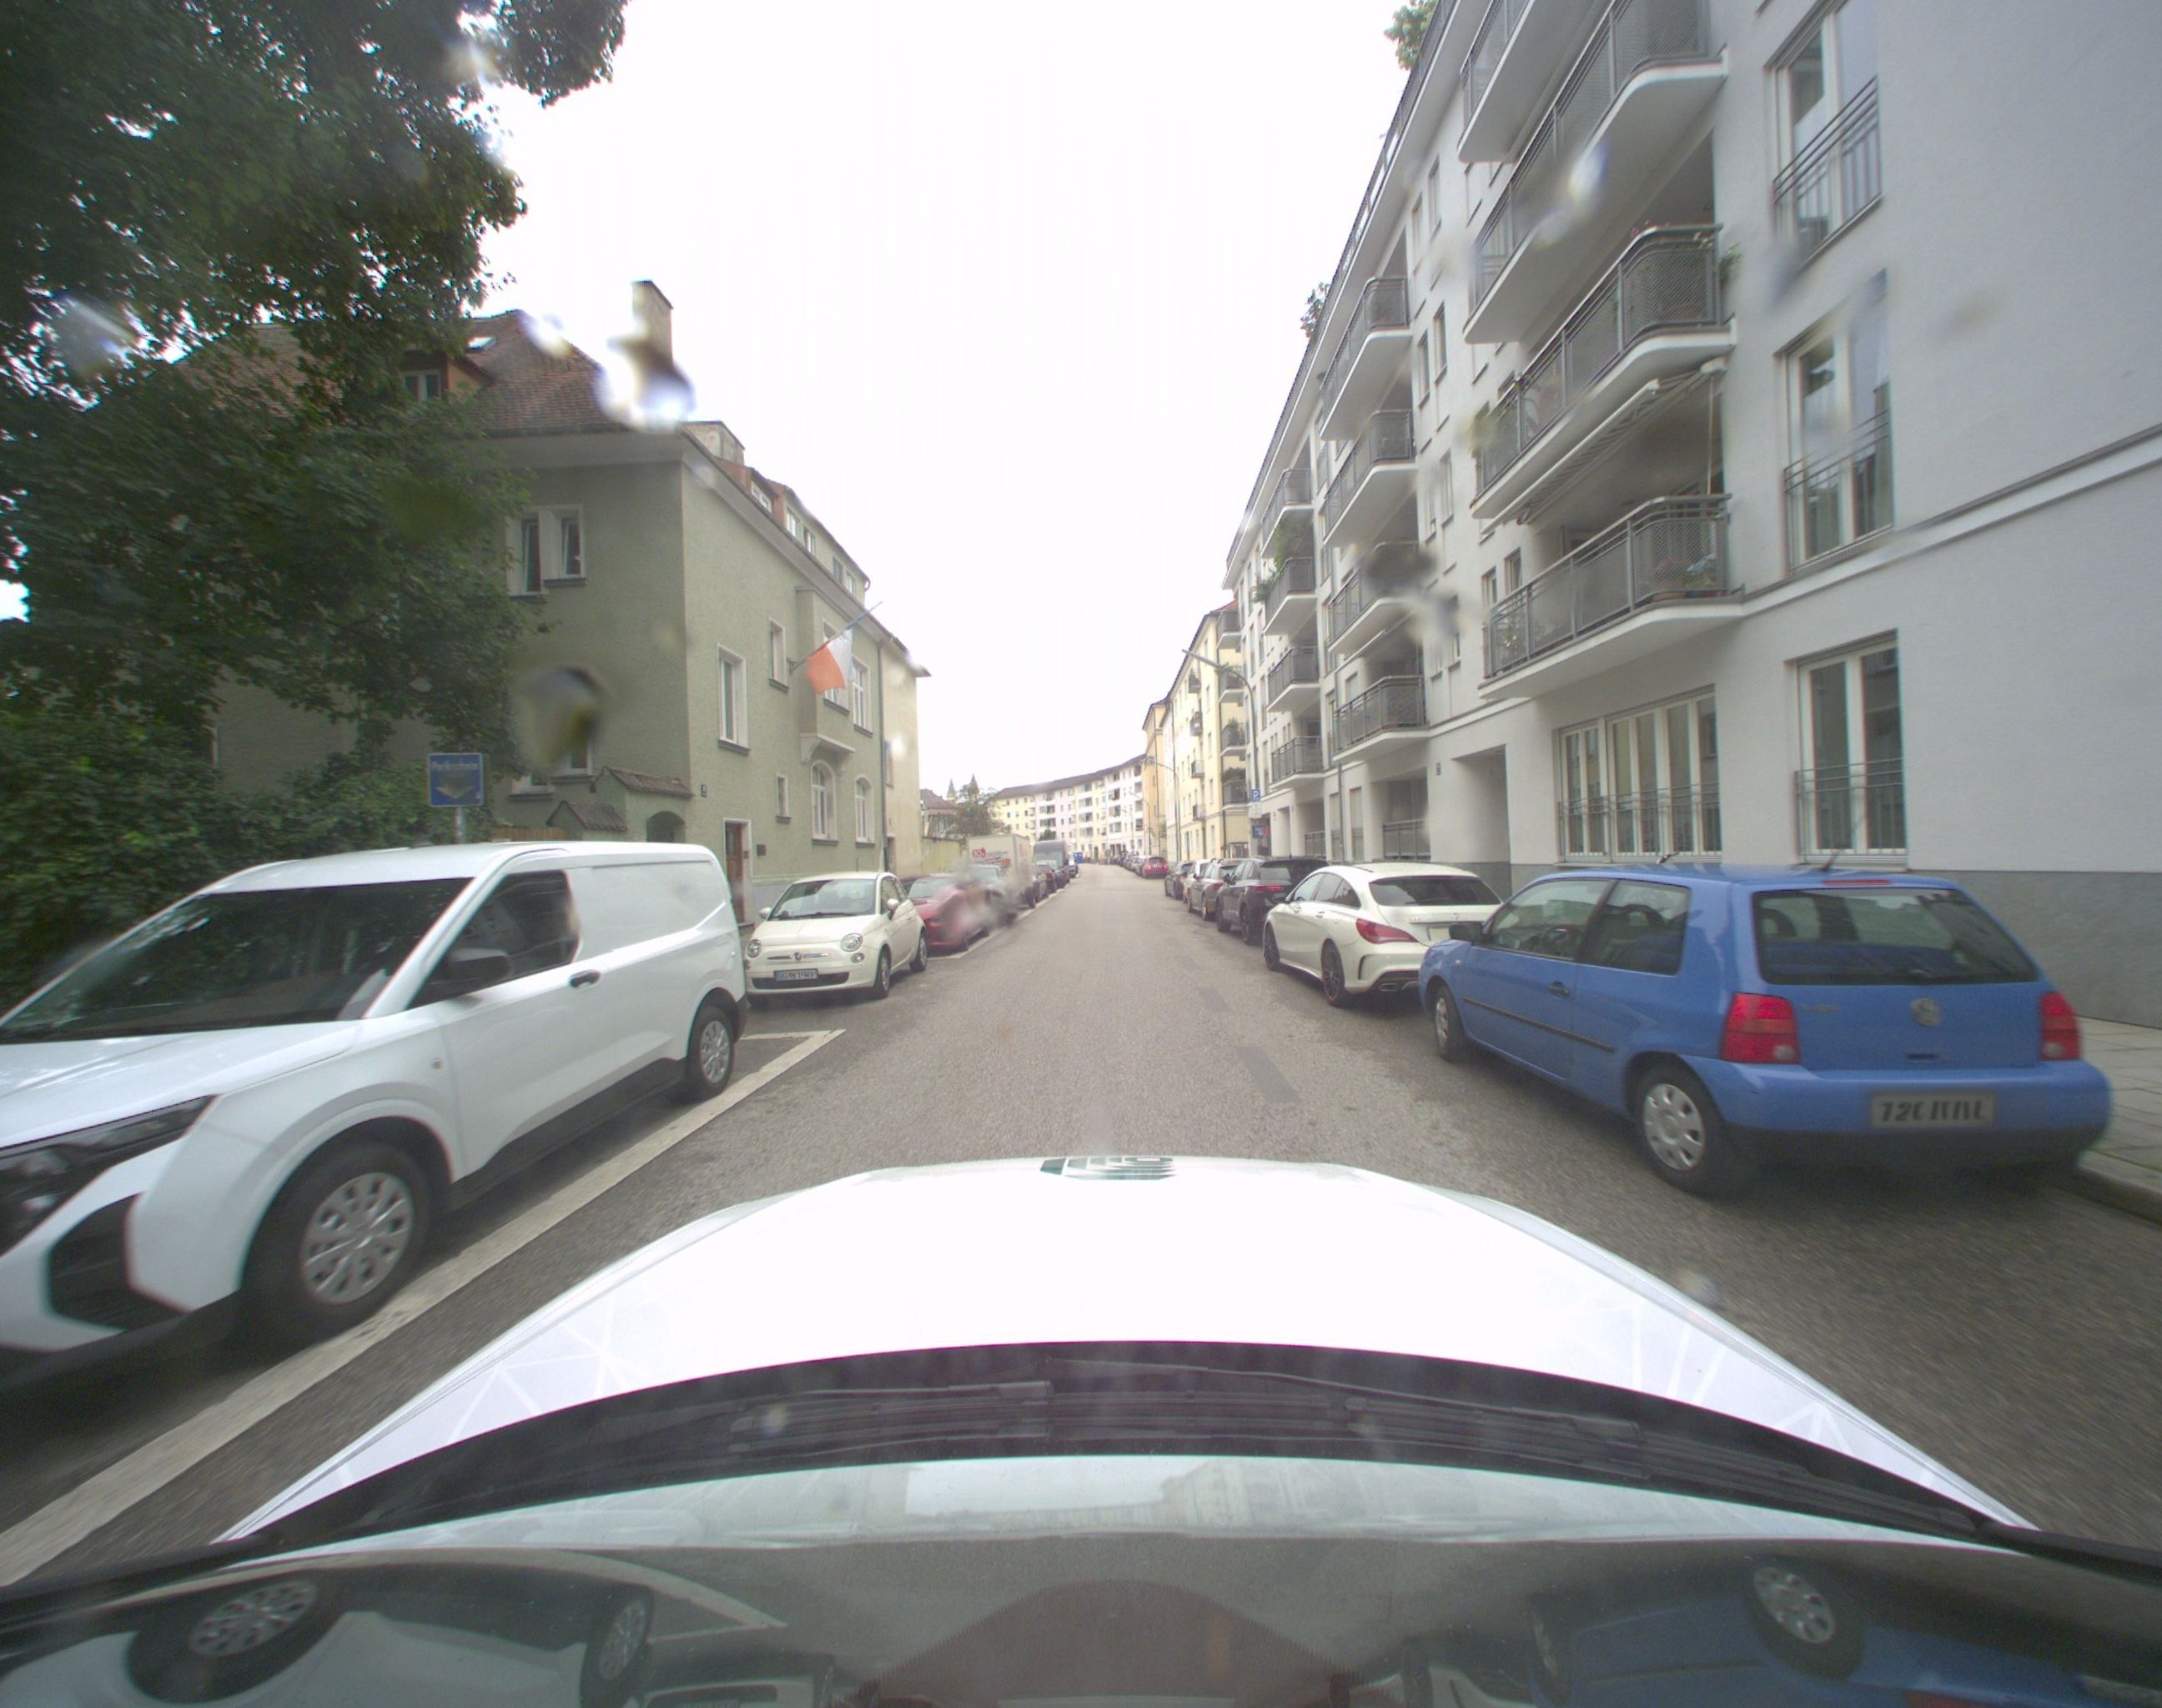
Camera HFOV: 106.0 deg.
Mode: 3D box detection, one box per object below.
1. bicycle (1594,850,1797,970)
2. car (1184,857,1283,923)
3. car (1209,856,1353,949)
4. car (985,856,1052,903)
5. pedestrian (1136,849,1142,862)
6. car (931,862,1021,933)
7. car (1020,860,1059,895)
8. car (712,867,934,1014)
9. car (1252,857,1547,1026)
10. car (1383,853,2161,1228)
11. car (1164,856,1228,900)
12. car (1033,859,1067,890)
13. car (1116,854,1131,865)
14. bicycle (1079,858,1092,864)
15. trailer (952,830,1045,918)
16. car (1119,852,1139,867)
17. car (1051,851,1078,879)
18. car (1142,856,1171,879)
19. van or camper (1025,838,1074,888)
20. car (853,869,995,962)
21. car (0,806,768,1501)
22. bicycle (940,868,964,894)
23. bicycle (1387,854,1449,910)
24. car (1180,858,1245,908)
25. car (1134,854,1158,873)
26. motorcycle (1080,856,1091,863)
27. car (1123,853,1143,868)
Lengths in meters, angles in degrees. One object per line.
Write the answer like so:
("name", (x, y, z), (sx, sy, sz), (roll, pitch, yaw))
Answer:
("bicycle", (6.699, 0.552, 9.044), (0.798, 1.172, 1.974), (-1, 0, 2))
("car", (3.820, 0.841, 21.190), (1.785, 1.482, 4.604), (-1, 0, 1))
("car", (3.640, 0.806, 15.539), (1.831, 1.533, 4.022), (-1, 0, 1))
("car", (-2.352, 0.942, 32.182), (1.855, 1.541, 5.096), (-4, 0, 4))
("pedestrian", (8.230, 0.203, 115.773), (0.615, 1.690, 0.919), (-5, -1, 1))
("car", (-2.634, 1.048, 21.335), (1.673, 1.530, 4.108), (-3, 0, 1))
("car", (-1.951, 1.094, 39.082), (1.670, 1.436, 4.284), (-4, 0, -1))
("car", (-3.102, 0.963, 10.550), (1.621, 1.467, 3.521), (-2, 0, 1))
("car", (3.282, 0.782, 9.405), (1.659, 1.467, 4.375), (-1, 0, -1))
("car", (3.412, 0.720, 5.030), (1.709, 1.423, 3.719), (-1, 0, 0))
("car", (4.254, 0.857, 30.744), (1.766, 1.475, 4.216), (-2, 0, -1))
("car", (-1.664, 1.054, 43.680), (1.648, 1.497, 3.906), (-4, 0, -2))
("car", (5.762, 0.774, 111.157), (1.627, 1.417, 3.676), (-1, 0, -2))
("bicycle", (0.823, 1.328, 157.829), (2.242, 1.069, 0.912), (-1, 0, -24))
("trailer", (-2.566, 0.609, 26.485), (1.967, 2.471, 4.583), (-5, -1, 5))
("car", (5.937, 0.651, 100.946), (2.162, 1.739, 5.025), (-1, 0, 1))
("car", (-1.291, 0.803, 61.769), (1.910, 1.960, 4.957), (-2, 0, -2))
("car", (5.062, 0.892, 55.072), (1.649, 1.429, 3.756), (-1, 0, 0))
("van or camper", (-1.819, 0.511, 48.719), (2.283, 2.651, 5.565), (-4, 0, 3))
("car", (-2.850, 1.070, 15.809), (1.739, 1.368, 4.404), (-3, 0, 1))
("car", (-3.376, 0.790, 4.195), (1.709, 1.756, 4.251), (-3, 0, 1))
("bicycle", (-6.310, 1.320, 40.020), (0.799, 1.233, 1.868), (-2, -1, 1))
("bicycle", (7.271, 0.575, 17.662), (0.567, 1.098, 1.811), (-5, 0, 2))
("car", (4.215, 0.899, 26.621), (1.611, 1.467, 3.748), (-1, 0, 2))
("car", (5.575, 0.811, 70.550), (1.646, 1.543, 3.991), (-1, 0, -1))
("motorcycle", (0.828, 1.092, 149.693), (0.936, 1.221, 2.487), (-1, 0, -23))
("car", (5.766, 0.708, 90.681), (1.841, 1.663, 4.497), (-1, 0, -1))
